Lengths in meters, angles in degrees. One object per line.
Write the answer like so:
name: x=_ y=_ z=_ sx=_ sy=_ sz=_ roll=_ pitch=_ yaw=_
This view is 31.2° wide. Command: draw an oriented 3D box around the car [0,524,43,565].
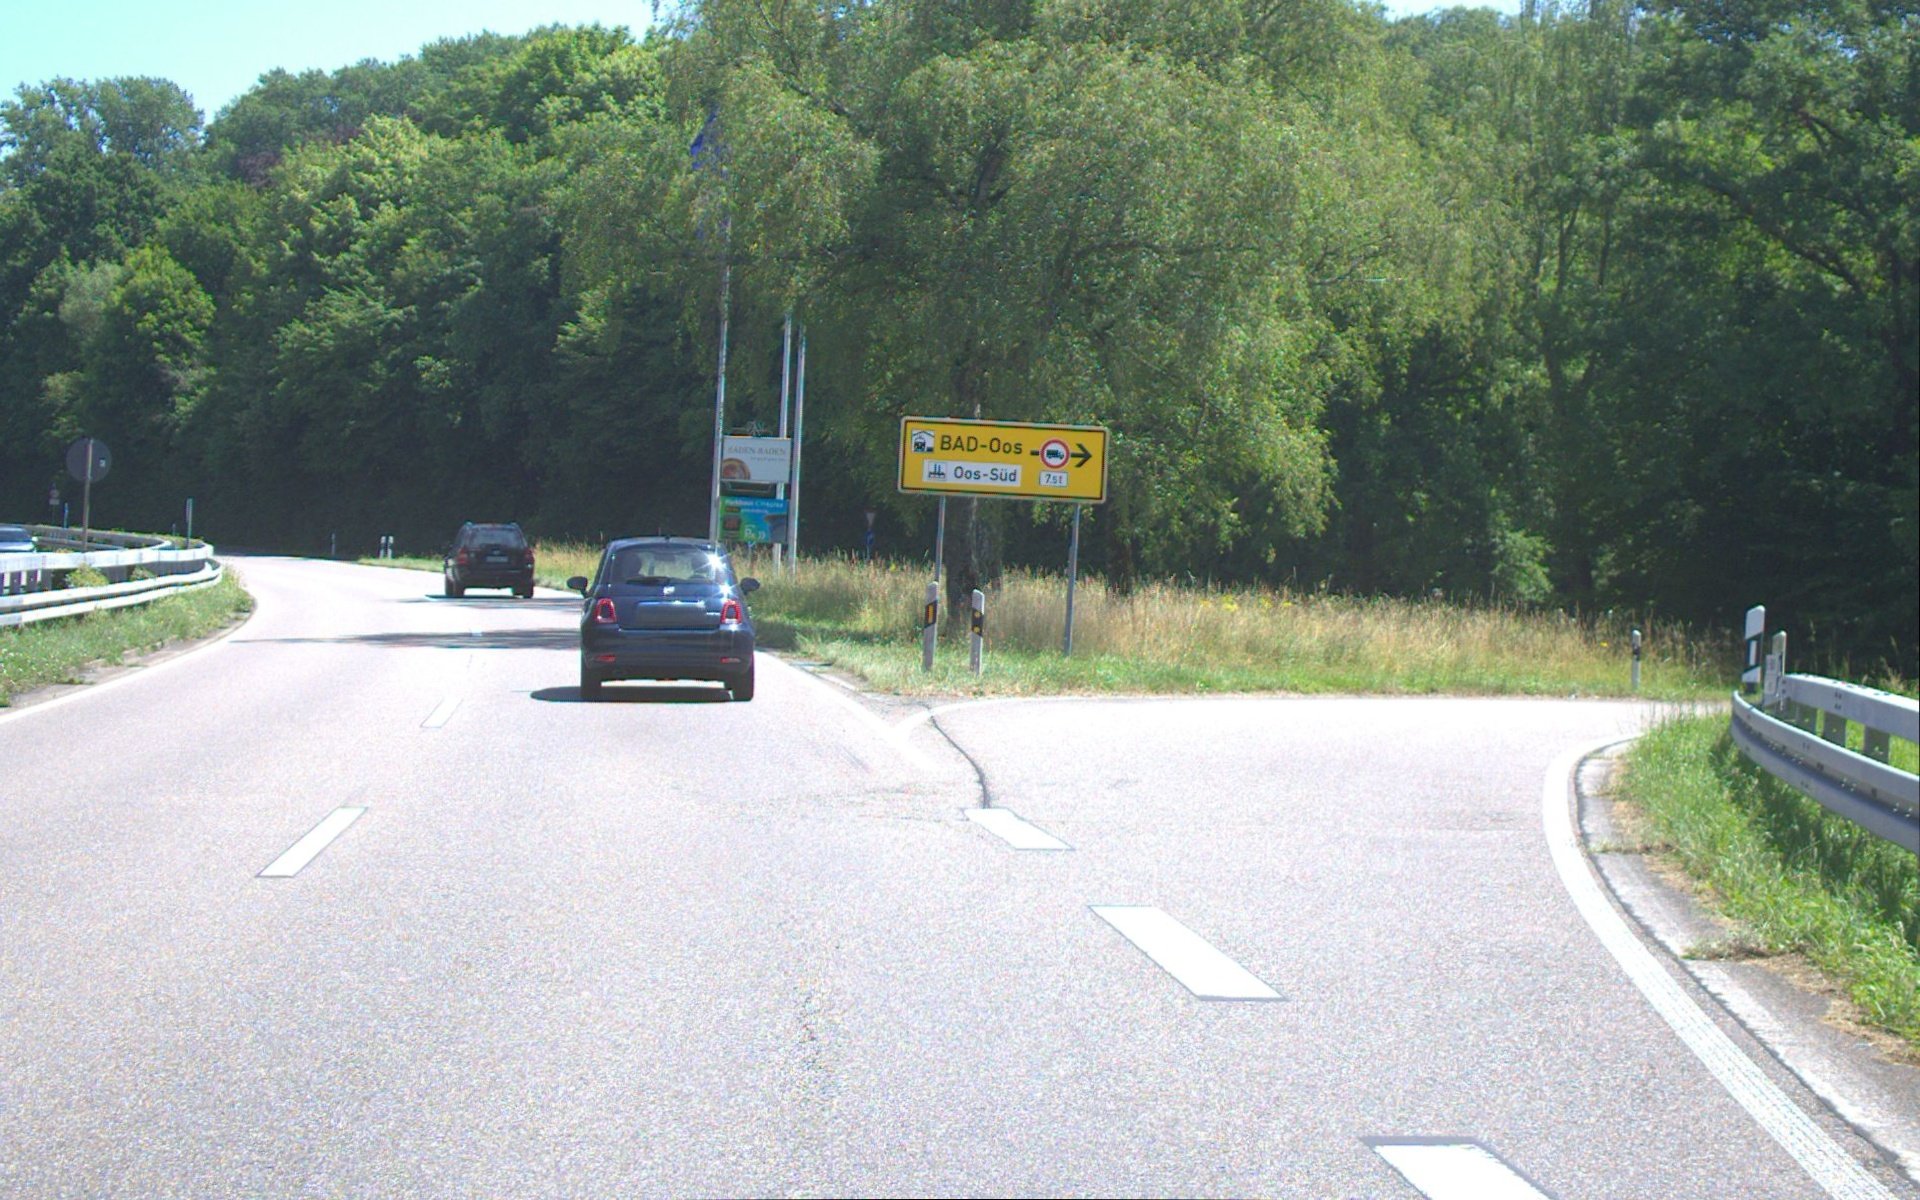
car: x=-32.825 y=-1.954 z=119.770 sx=1.440 sy=1.376 sz=3.850 roll=0 pitch=1 yaw=-18

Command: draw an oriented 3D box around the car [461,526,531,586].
car: x=-10.597 y=-1.018 z=78.364 sx=1.525 sy=1.309 sz=3.416 roll=0 pitch=1 yaw=-8

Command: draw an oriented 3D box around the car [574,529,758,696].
car: x=-2.755 y=0.080 z=32.748 sx=1.513 sy=1.495 sz=3.590 roll=0 pitch=1 yaw=-1
